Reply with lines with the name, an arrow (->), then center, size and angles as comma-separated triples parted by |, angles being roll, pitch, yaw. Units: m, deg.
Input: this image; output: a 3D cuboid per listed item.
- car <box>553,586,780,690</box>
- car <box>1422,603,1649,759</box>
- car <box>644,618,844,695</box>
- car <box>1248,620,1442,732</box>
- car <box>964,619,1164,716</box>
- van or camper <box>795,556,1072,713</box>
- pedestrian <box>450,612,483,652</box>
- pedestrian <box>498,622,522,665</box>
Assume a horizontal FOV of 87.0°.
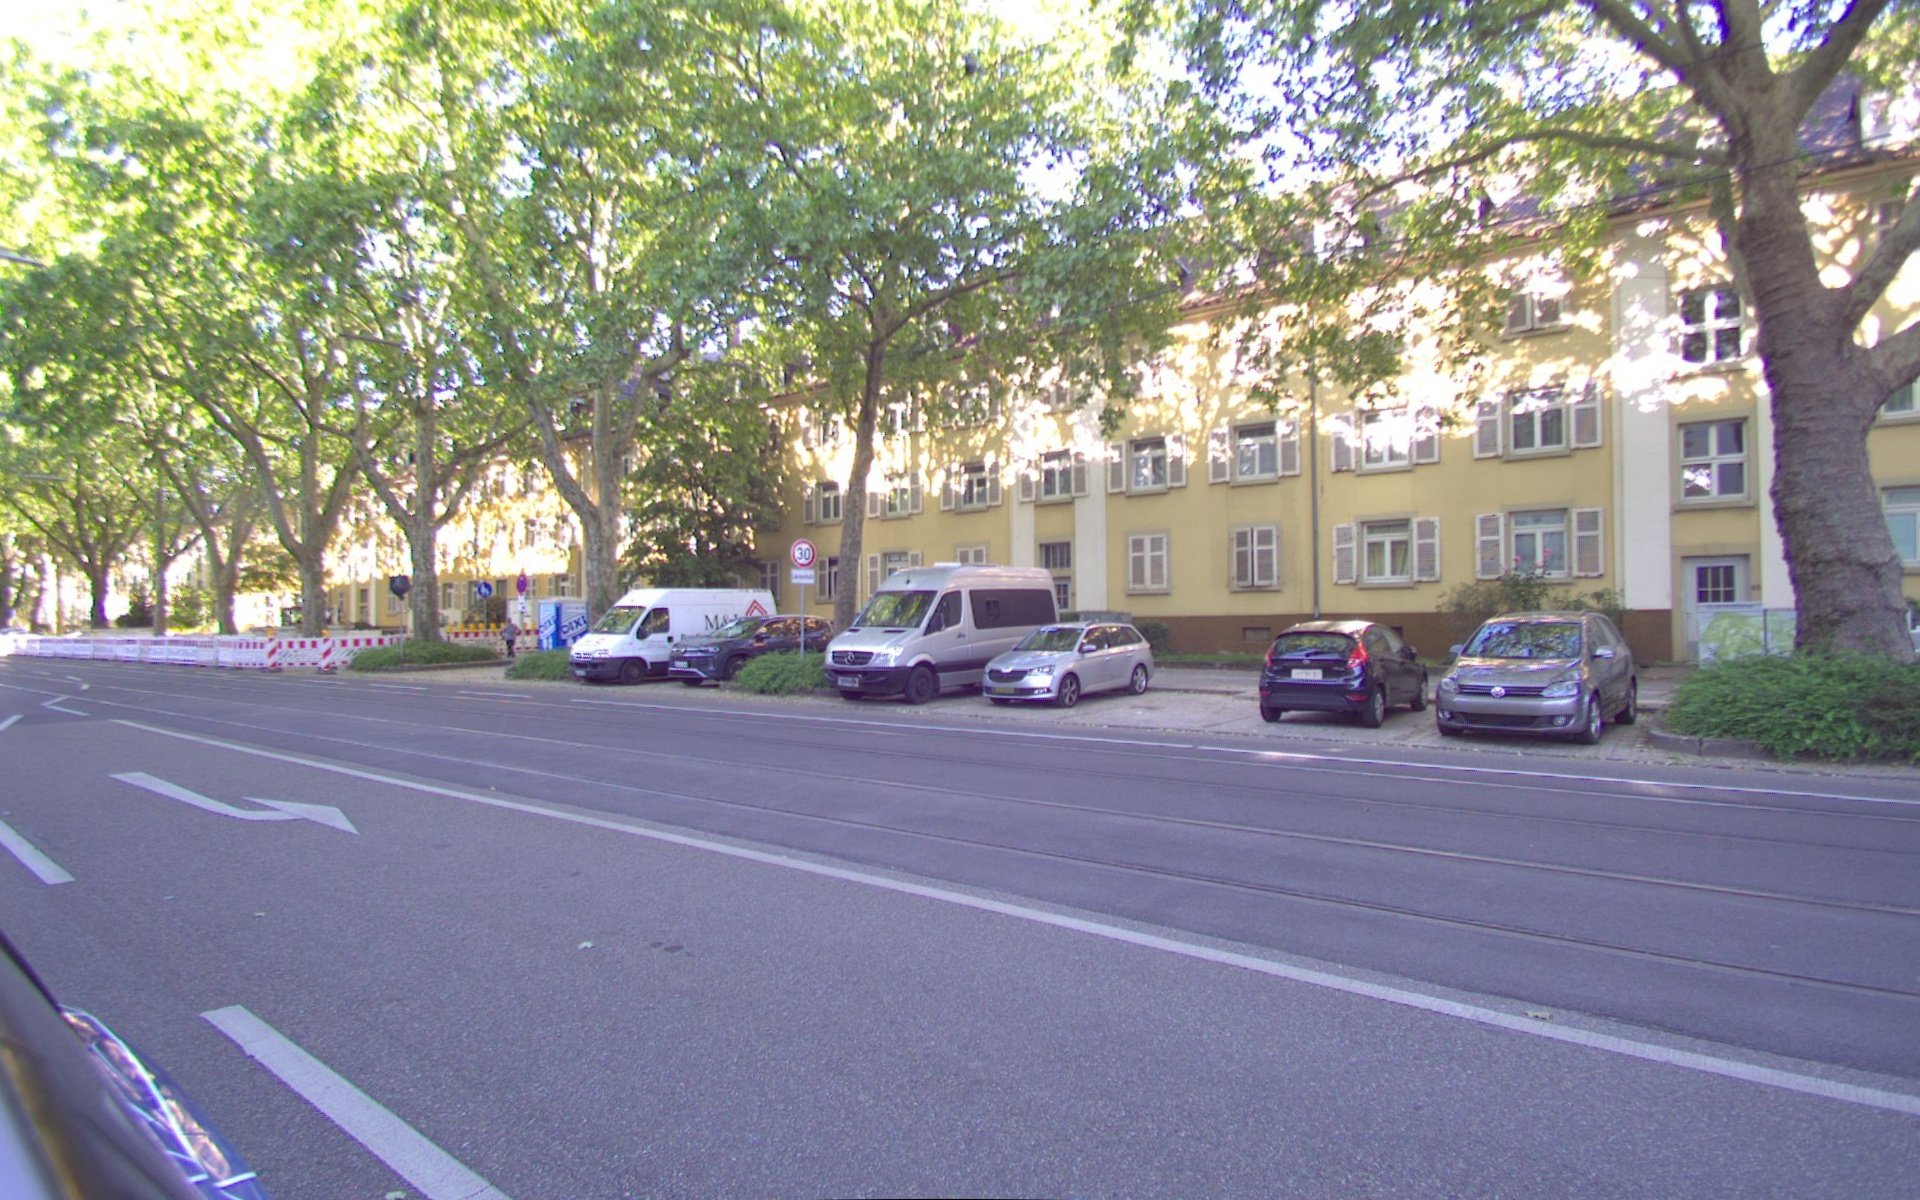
car -> -7.441, 0.947, 26.290 | 2.023, 2.394, 5.543 | -2, -2, 38
car -> 7.740, 0.926, 13.418 | 1.814, 1.617, 4.145 | -2, 0, 41
car -> -5.087, 1.273, 24.371 | 1.967, 1.643, 4.520 | -2, -2, 38
car -> 5.910, 1.047, 15.332 | 1.740, 1.440, 3.528 | -2, -1, 39
car -> 2.040, 1.157, 18.909 | 1.729, 1.481, 4.102 | 0, 1, 40
van or camper -> -0.313, 0.612, 20.494 | 2.227, 2.697, 6.052 | -2, -1, 38
pedestrian -> -25.602, 1.667, 52.510 | 1.233, 2.029, 1.085 | -2, -2, 36
pedestrian -> -16.825, 1.632, 37.866 | 0.717, 1.585, 0.588 | -2, -2, 43
